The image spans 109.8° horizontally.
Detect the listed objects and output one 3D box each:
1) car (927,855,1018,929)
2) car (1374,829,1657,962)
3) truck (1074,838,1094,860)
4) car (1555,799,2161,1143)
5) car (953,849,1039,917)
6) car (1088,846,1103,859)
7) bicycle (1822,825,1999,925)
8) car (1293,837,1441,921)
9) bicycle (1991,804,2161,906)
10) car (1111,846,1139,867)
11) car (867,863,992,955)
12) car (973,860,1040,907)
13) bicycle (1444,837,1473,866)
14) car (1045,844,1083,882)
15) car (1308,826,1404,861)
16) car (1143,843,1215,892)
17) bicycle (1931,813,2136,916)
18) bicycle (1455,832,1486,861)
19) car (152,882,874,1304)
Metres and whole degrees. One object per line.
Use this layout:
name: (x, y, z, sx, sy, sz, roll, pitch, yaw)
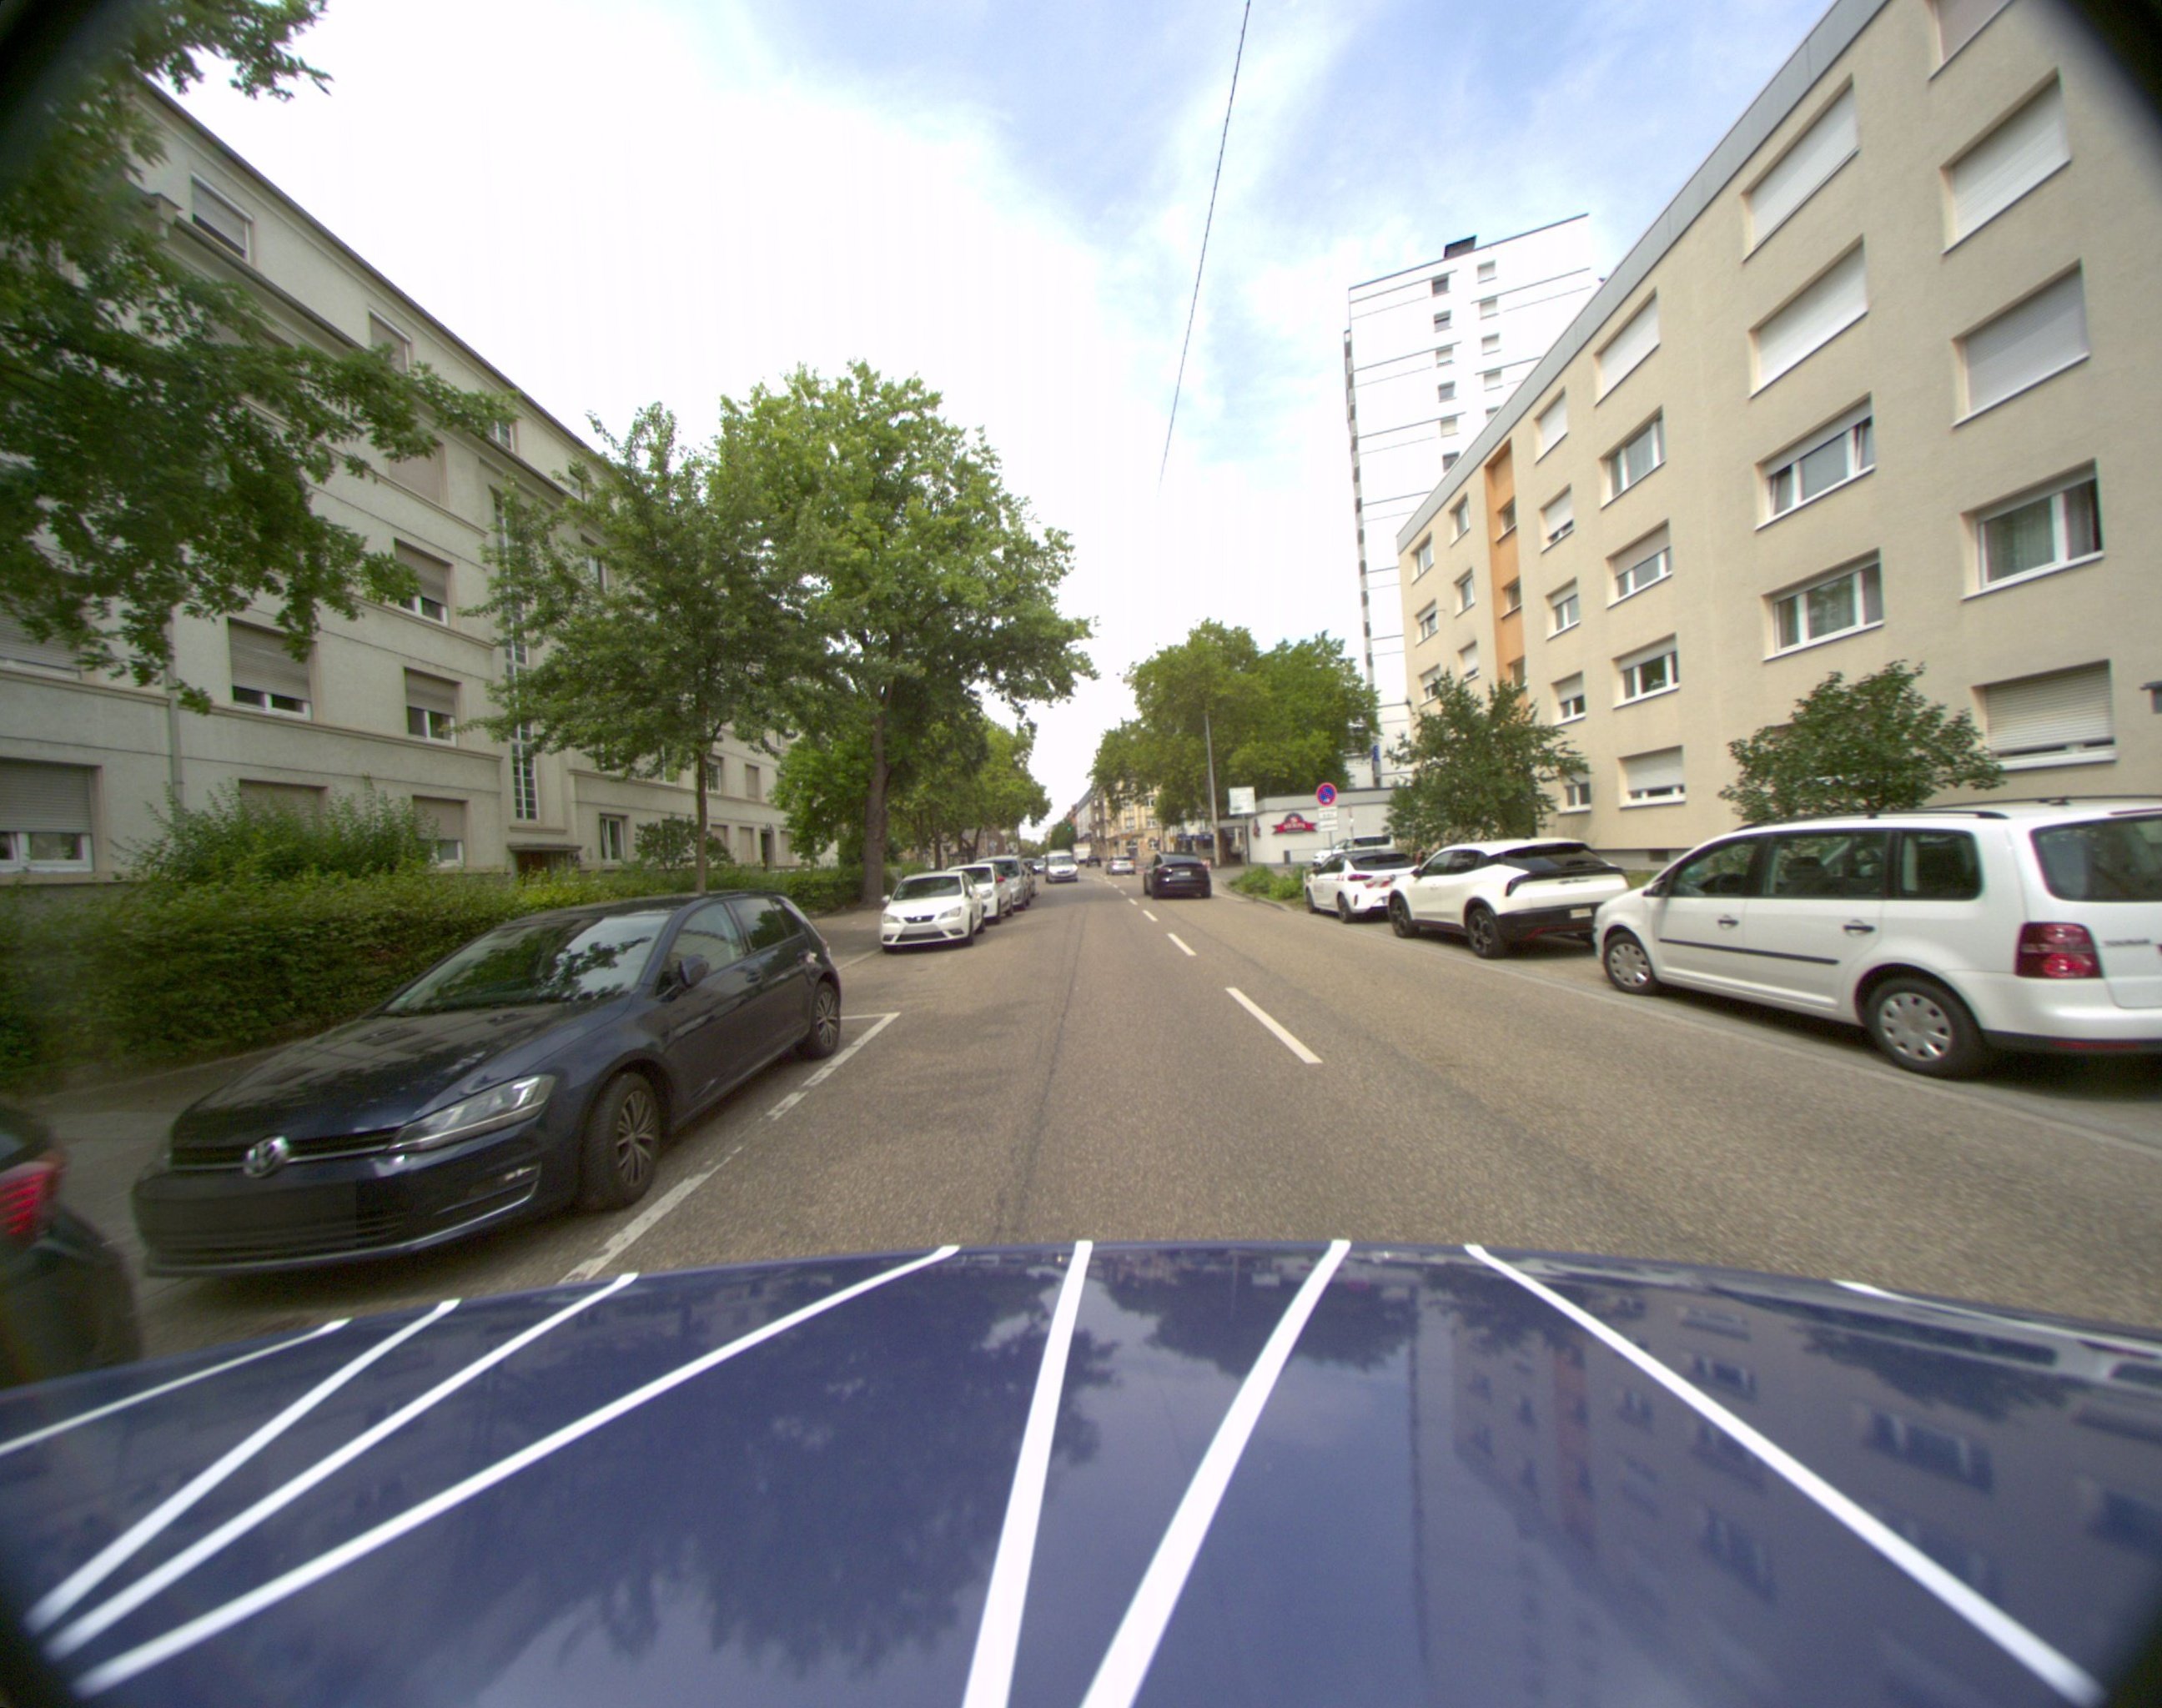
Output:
car: (-2.761, 0.926, 20.129, 1.608, 1.598, 3.804, -5, 0, 2)
car: (6.016, 0.497, 11.161, 1.713, 1.464, 3.988, -5, 0, -1)
truck: (0.362, -0.723, 111.879, 2.548, 3.089, 7.018, -1, 0, -2)
car: (5.918, 0.523, 5.902, 1.701, 1.603, 4.477, -5, 0, 2)
car: (-2.621, 0.835, 24.624, 1.922, 1.854, 4.846, -5, 0, 2)
car: (1.848, -0.187, 95.128, 1.701, 1.509, 4.000, -2, 0, -1)
bicycle: (11.486, 0.271, 10.628, 0.580, 1.243, 1.935, -3, 0, 11)
car: (5.999, 0.455, 16.438, 1.712, 1.464, 3.989, -5, 0, 2)
bicycle: (13.609, 0.006, 10.237, 0.556, 1.243, 1.919, -3, 0, 9)
car: (3.212, 0.160, 56.396, 1.848, 1.442, 4.185, -2, 0, 1)
car: (-2.909, 0.996, 15.485, 1.702, 1.441, 4.100, -4, 0, -1)
car: (-2.785, 1.078, 29.297, 1.922, 1.436, 4.239, -5, 0, 2)
bicycle: (14.152, -0.099, 28.494, 0.412, 1.032, 1.806, -3, 1, 9)
car: (-1.070, 0.532, 46.328, 2.082, 2.039, 4.679, -3, 0, -3)
car: (15.061, -0.574, 41.836, 4.640, 1.676, 1.850, -2, 0, 7)
car: (3.308, 0.417, 26.565, 1.956, 1.512, 4.613, -1, 0, 1)
bicycle: (12.899, 0.133, 10.398, 0.564, 1.243, 1.964, -3, 0, 11)
bicycle: (14.712, -0.280, 28.754, 0.412, 1.032, 1.805, -3, 1, 8)
car: (-2.930, 1.083, 5.223, 1.701, 1.461, 4.101, -5, 0, 1)
